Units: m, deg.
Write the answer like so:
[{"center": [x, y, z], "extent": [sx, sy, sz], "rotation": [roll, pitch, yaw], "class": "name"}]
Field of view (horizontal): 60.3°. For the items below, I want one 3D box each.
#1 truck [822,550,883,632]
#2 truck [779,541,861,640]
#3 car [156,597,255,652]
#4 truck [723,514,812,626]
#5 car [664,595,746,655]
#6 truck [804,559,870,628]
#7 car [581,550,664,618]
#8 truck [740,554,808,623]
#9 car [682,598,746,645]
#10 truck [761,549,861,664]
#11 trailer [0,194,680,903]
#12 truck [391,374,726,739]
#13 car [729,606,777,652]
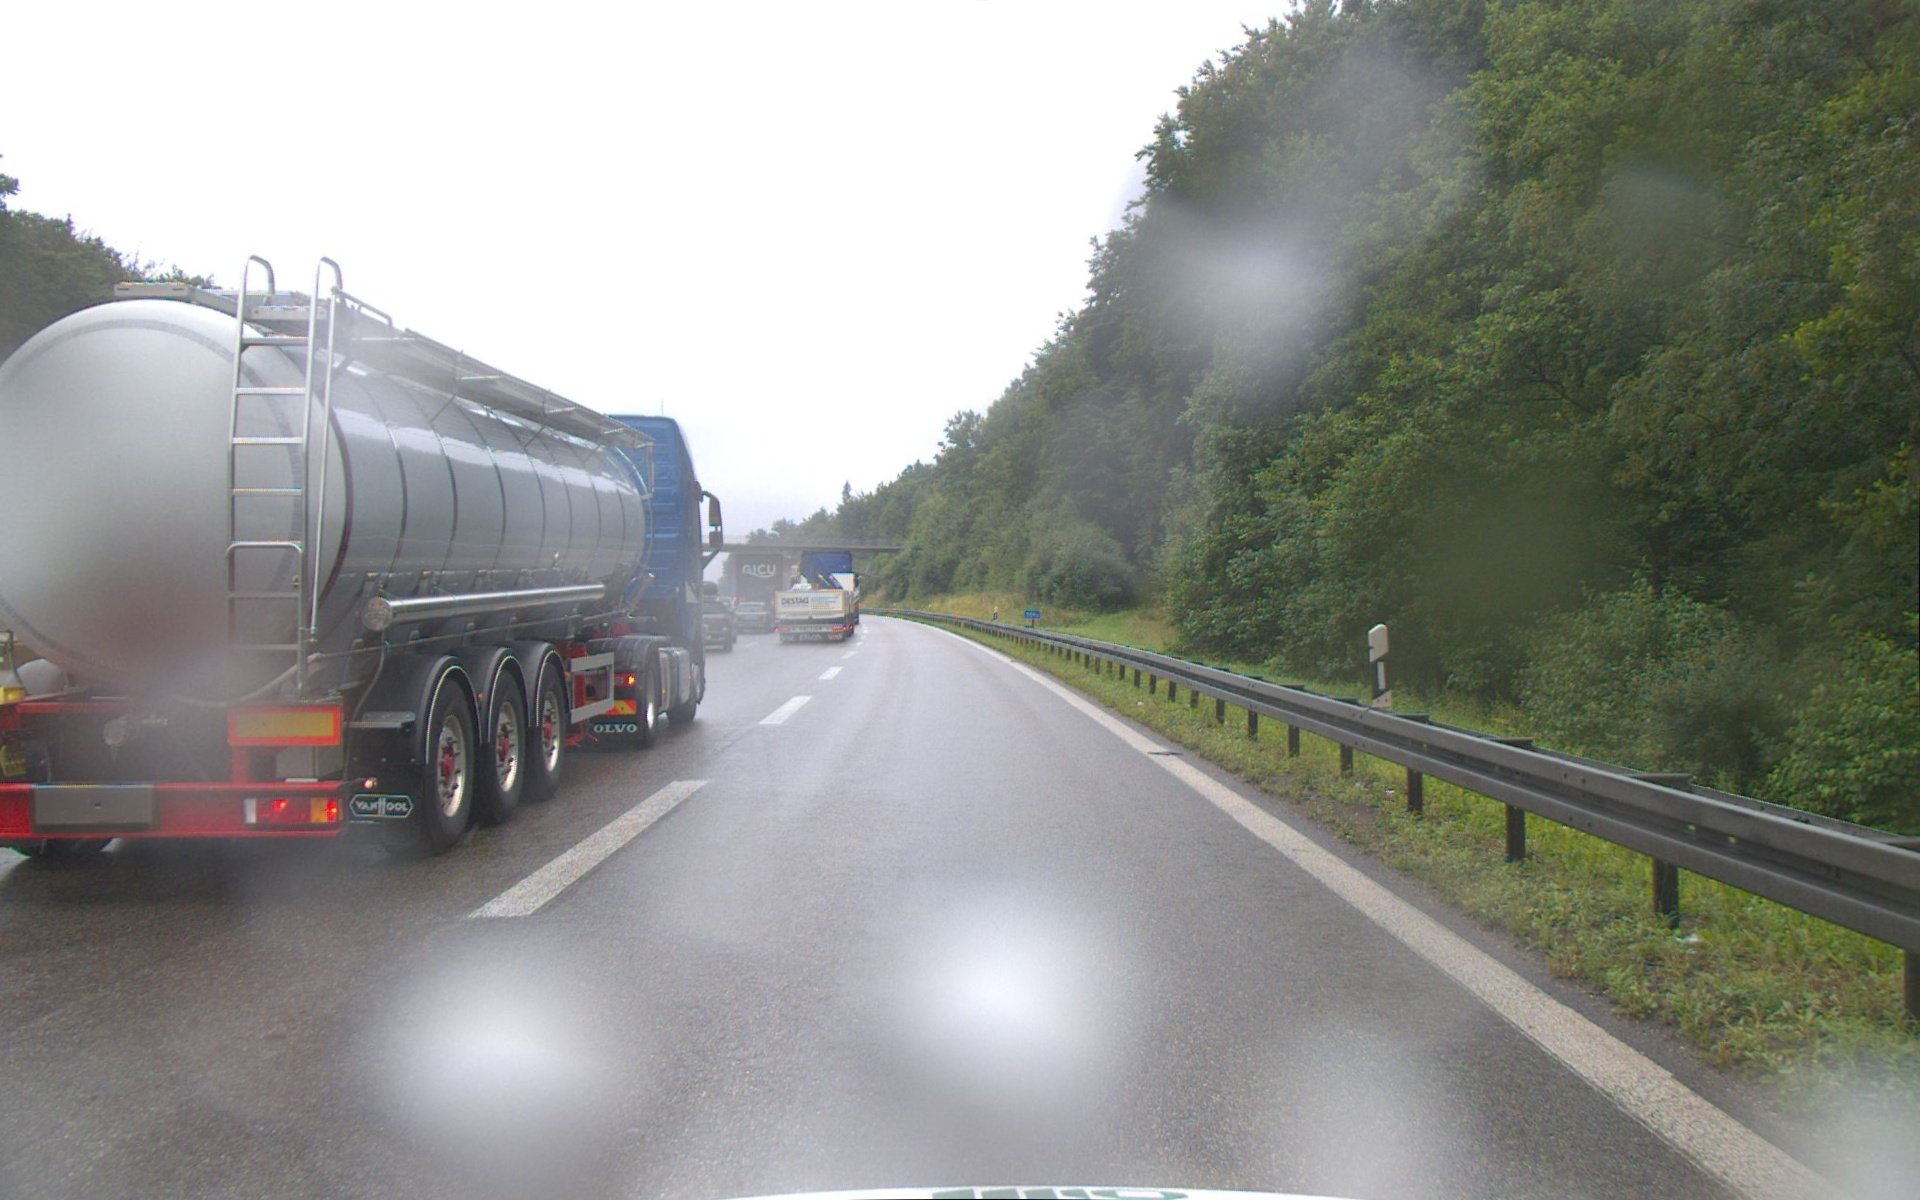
[{"center": [-8.400, -0.595, 129.878], "extent": [4.251, 5.864, 9.722], "rotation": [3, -2, -3], "class": "truck"}, {"center": [-6.784, -0.317, 81.724], "extent": [3.438, 4.342, 10.594], "rotation": [3, -2, -3], "class": "truck"}, {"center": [-28.031, 0.871, 61.582], "extent": [1.916, 1.959, 3.999], "rotation": [0, 0, -2], "class": "car"}, {"center": [-10.780, -1.537, 93.816], "extent": [3.679, 5.595, 10.168], "rotation": [3, -2, -1], "class": "truck"}, {"center": [-7.873, 0.805, 51.458], "extent": [1.953, 1.665, 3.998], "rotation": [3, -2, -2], "class": "car"}, {"center": [-8.222, -0.330, 112.031], "extent": [3.679, 4.040, 11.054], "rotation": [3, -2, -2], "class": "truck"}, {"center": [-10.710, -0.470, 52.746], "extent": [1.761, 1.870, 3.998], "rotation": [3, -2, -1], "class": "car"}, {"center": [-12.338, -0.653, 110.886], "extent": [3.504, 4.167, 10.875], "rotation": [0, -2, -1], "class": "truck"}, {"center": [-9.141, 0.776, 61.787], "extent": [1.899, 1.691, 3.999], "rotation": [0, 0, -2], "class": "car"}, {"center": [-5.778, 0.226, 66.024], "extent": [3.528, 4.177, 11.552], "rotation": [0, 0, -3], "class": "truck"}, {"center": [-4.319, -0.246, 12.852], "extent": [2.815, 3.346, 10.074], "rotation": [0, 0, -2], "class": "trailer"}, {"center": [-4.501, -0.451, 19.615], "extent": [2.819, 3.758, 5.055], "rotation": [0, 0, -1], "class": "truck"}, {"center": [-9.901, 1.429, 79.455], "extent": [1.757, 2.049, 3.998], "rotation": [3, -2, -1], "class": "car"}]
